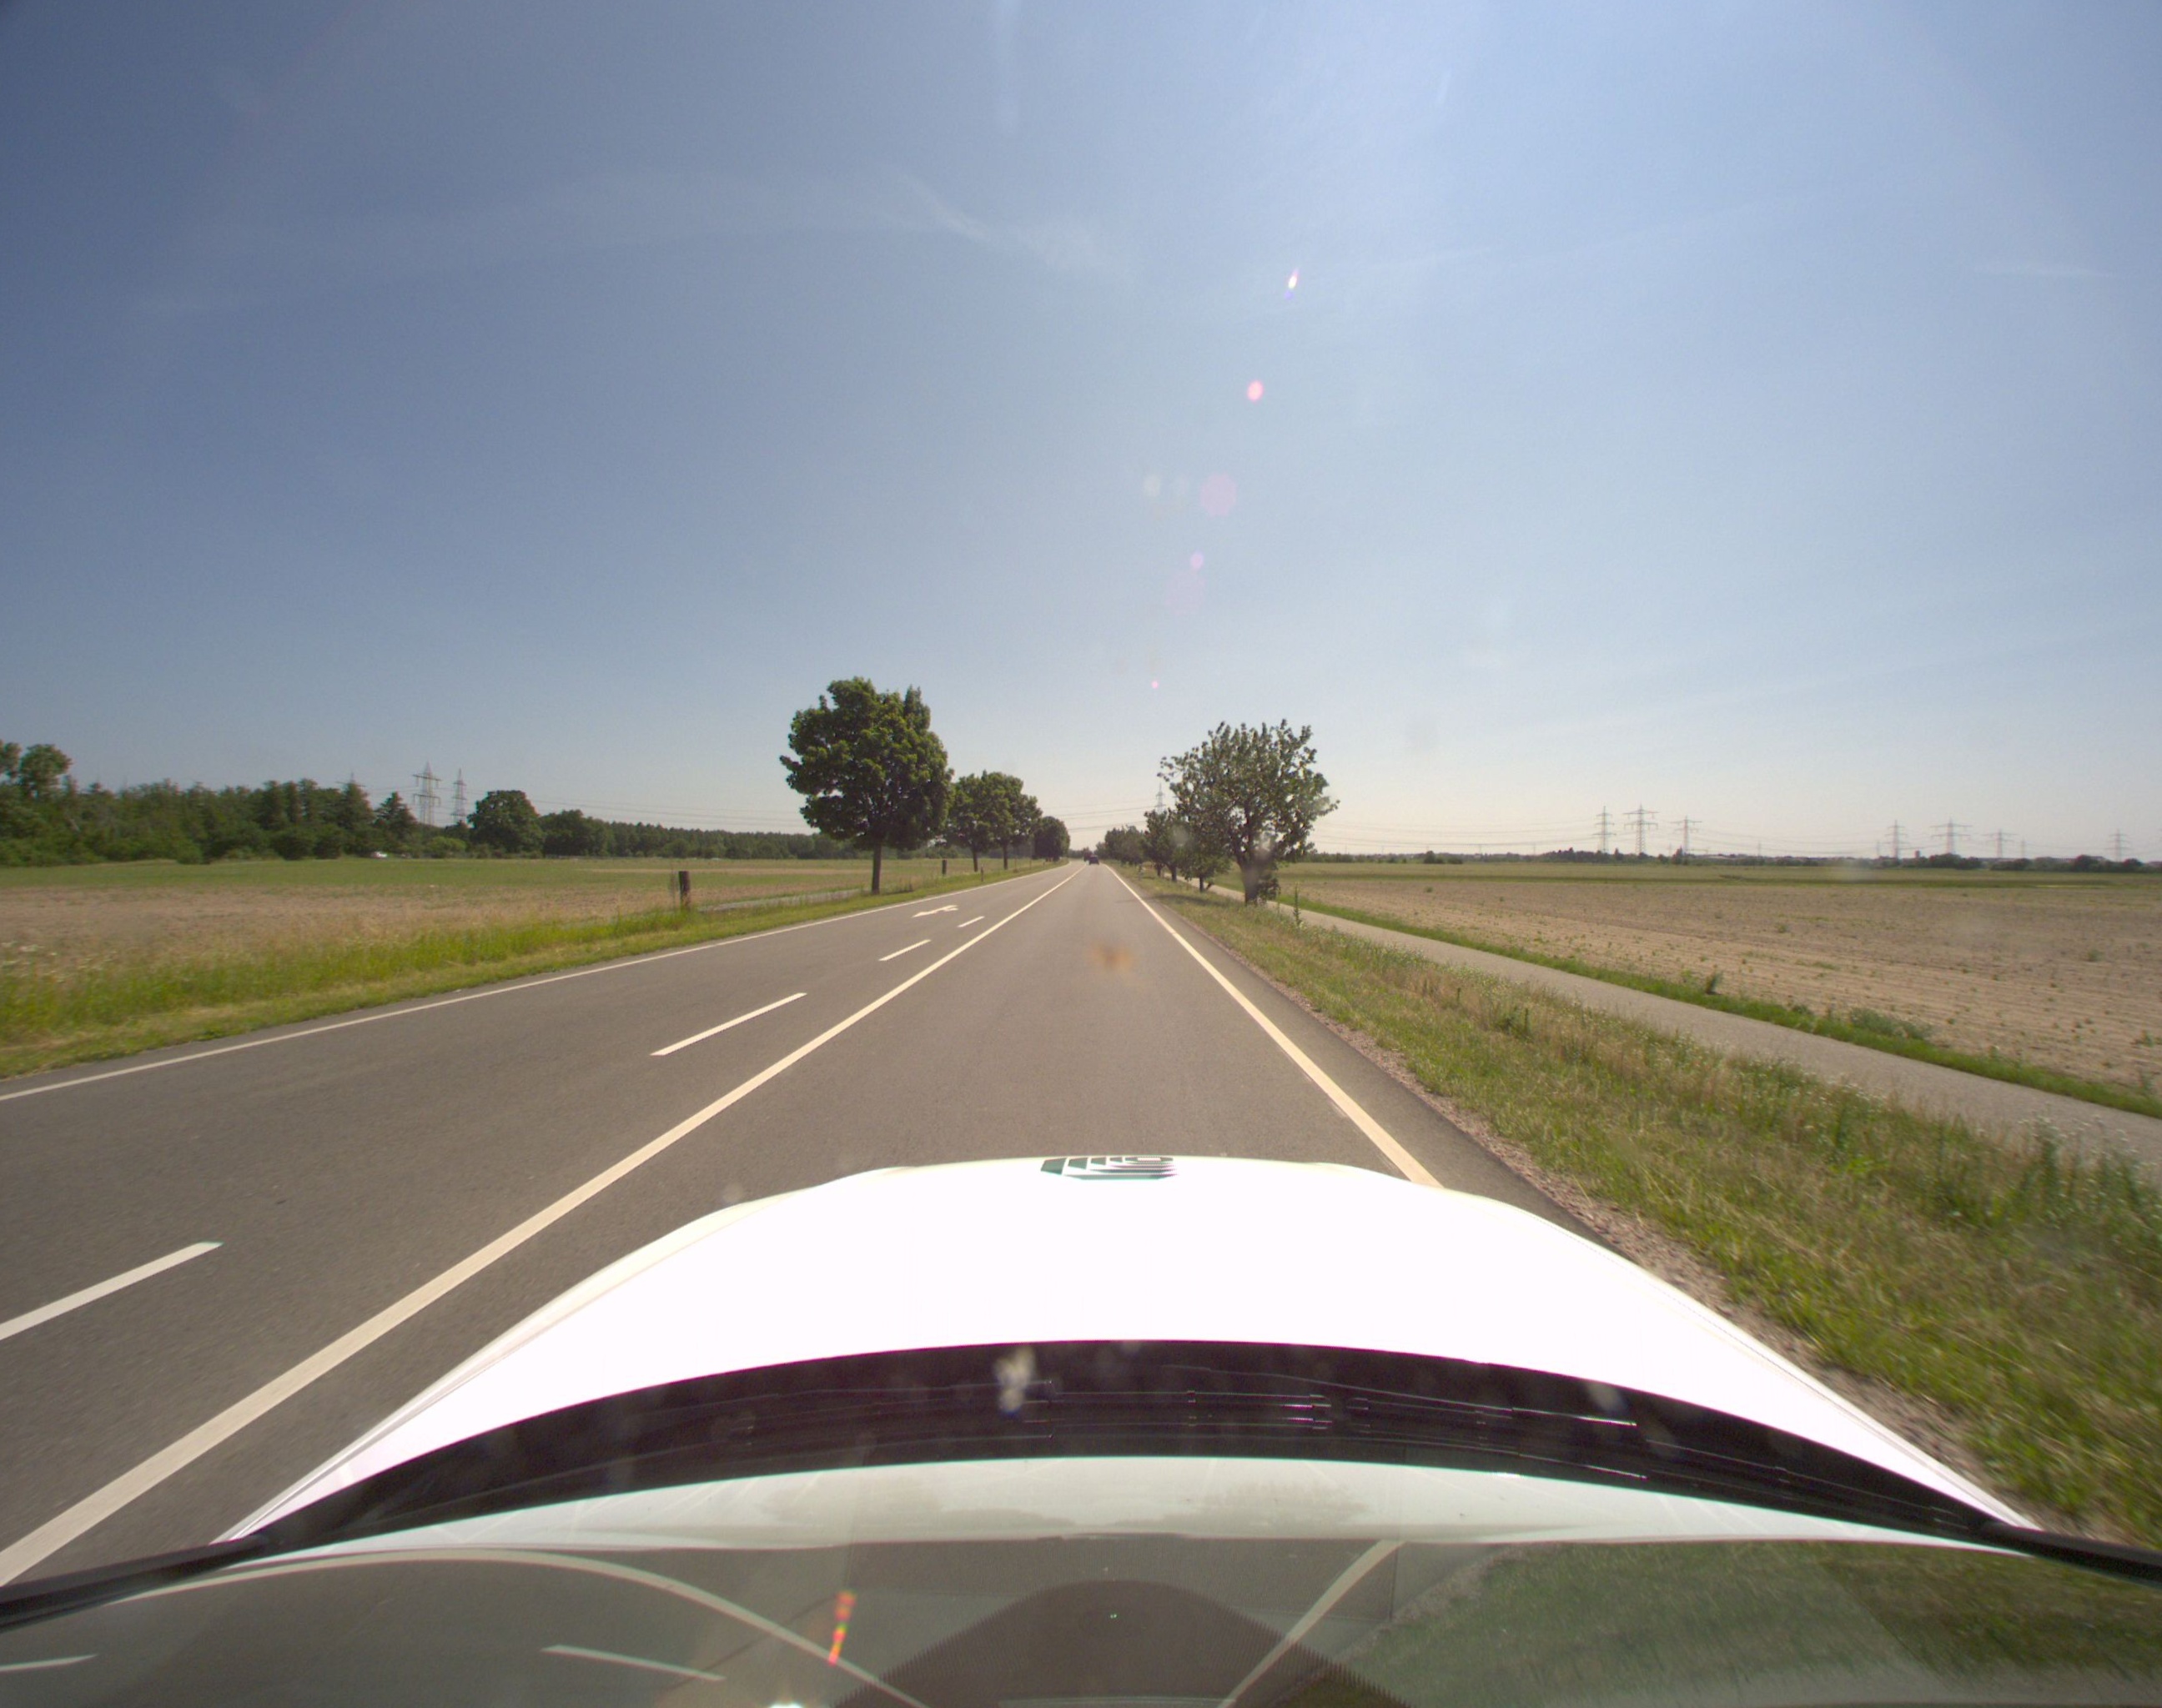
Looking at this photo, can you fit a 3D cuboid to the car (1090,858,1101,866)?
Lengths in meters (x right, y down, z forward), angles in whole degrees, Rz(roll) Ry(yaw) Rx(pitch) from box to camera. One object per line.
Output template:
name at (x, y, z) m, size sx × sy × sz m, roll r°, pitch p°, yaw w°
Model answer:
car at (2.736, 1.470, 153.735) m, size 1.878 × 1.518 × 4.040 m, roll 2°, pitch 0°, yaw 1°

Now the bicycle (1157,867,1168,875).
bicycle at (11.633, 2.415, 116.238) m, size 1.216 × 1.165 × 2.433 m, roll 2°, pitch 0°, yaw -3°

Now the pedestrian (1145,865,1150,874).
pedestrian at (9.744, 2.279, 119.510) m, size 0.554 × 1.371 × 0.602 m, roll 2°, pitch 0°, yaw -7°

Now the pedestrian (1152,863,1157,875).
pedestrian at (10.899, 2.156, 120.497) m, size 0.554 × 1.721 × 0.602 m, roll 2°, pitch 0°, yaw -7°
